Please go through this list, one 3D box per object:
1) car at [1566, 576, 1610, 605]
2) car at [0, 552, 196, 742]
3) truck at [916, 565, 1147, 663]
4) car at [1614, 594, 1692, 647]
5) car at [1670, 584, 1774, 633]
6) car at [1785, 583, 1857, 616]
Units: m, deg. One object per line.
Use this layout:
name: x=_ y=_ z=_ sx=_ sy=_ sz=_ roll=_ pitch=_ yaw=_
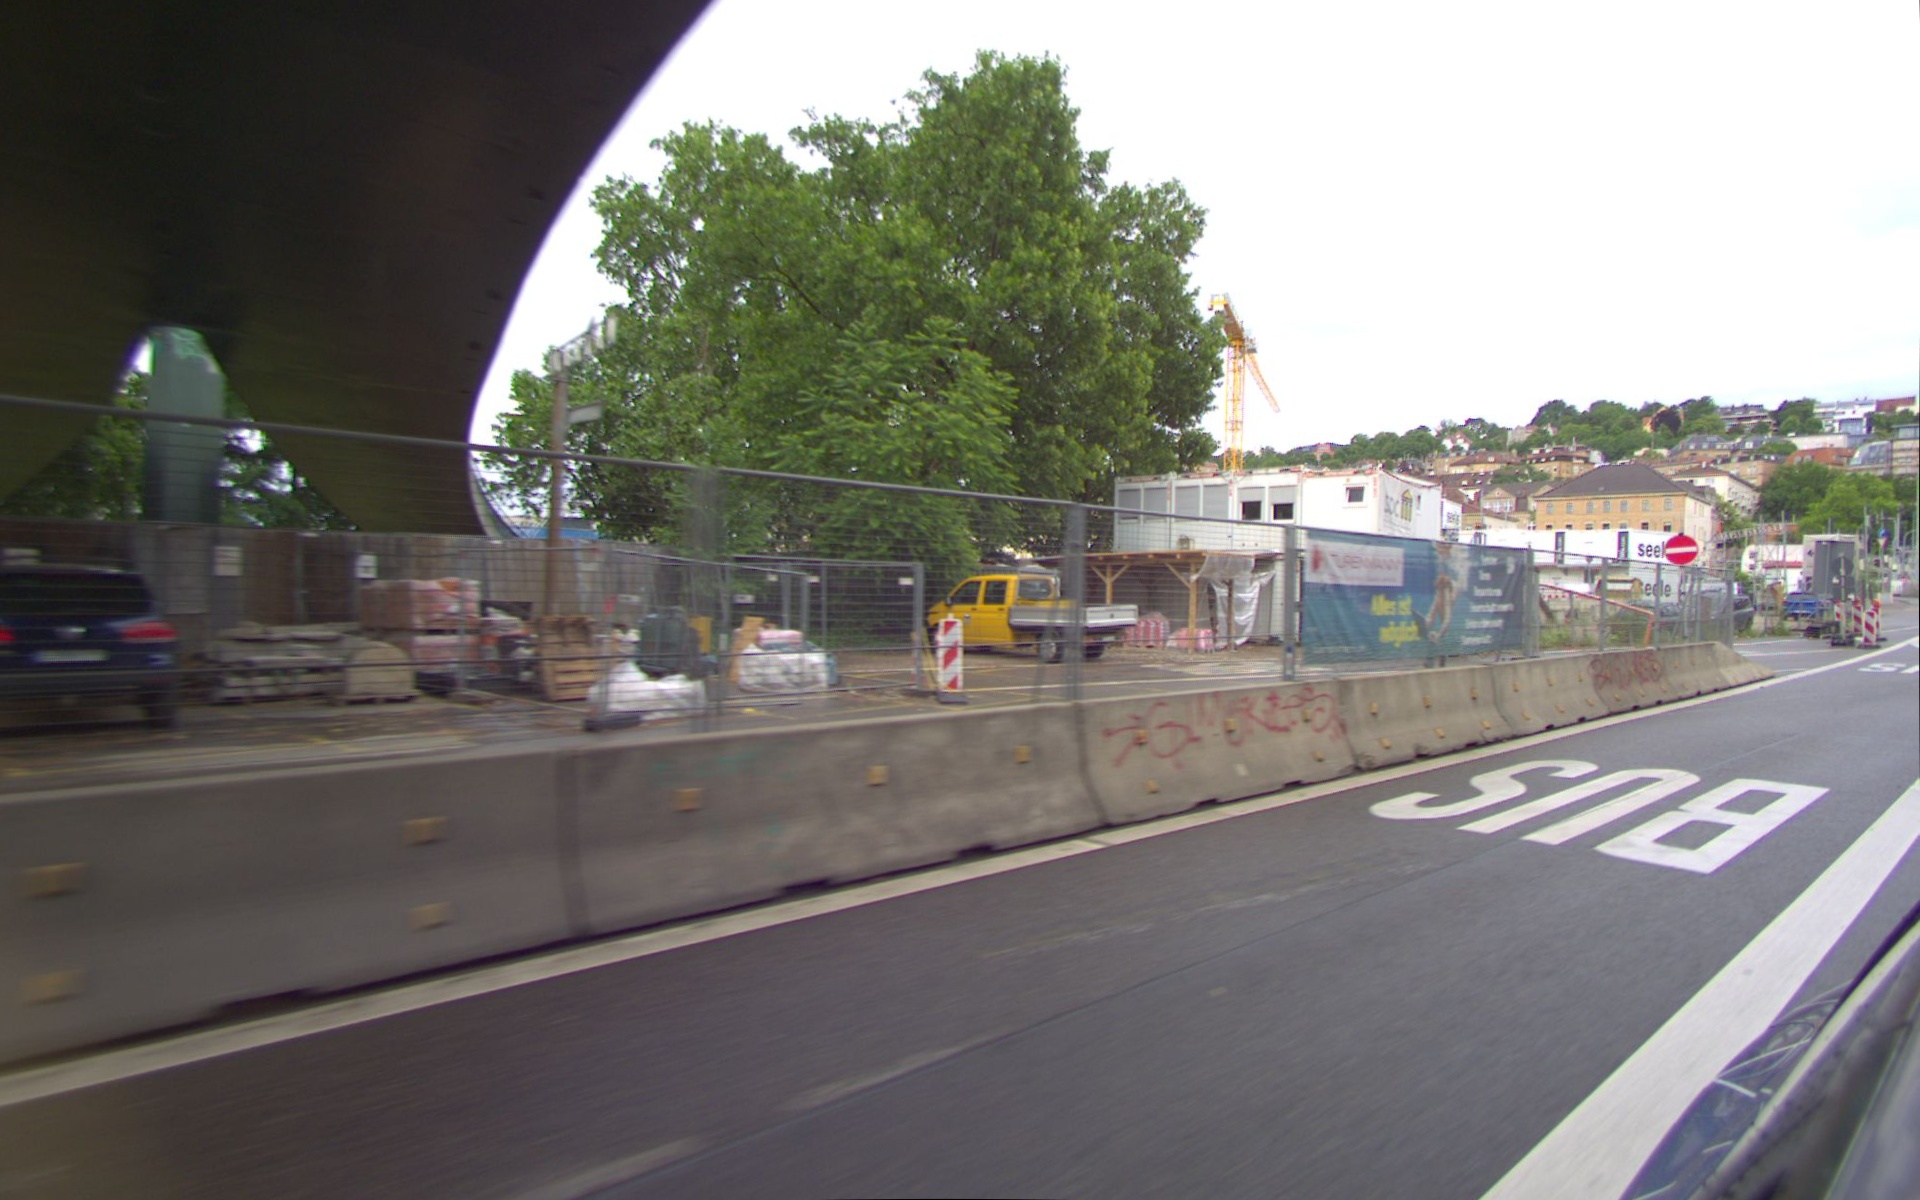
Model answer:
car: x=44.713 y=-0.729 z=72.016 sx=2.011 sy=1.924 sz=4.587 roll=4 pitch=3 yaw=40
car: x=-10.145 y=0.390 z=11.251 sx=4.499 sy=1.750 sz=1.968 roll=2 pitch=1 yaw=44
truck: x=1.595 y=0.200 z=24.009 sx=5.152 sy=2.038 sz=2.373 roll=2 pitch=3 yaw=43
car: x=25.520 y=0.697 z=37.214 sx=1.850 sy=1.501 sz=3.943 roll=4 pitch=7 yaw=41
car: x=30.657 y=0.280 z=40.693 sx=4.328 sy=1.668 sz=1.931 roll=-1 pitch=7 yaw=-34
car: x=41.179 y=-0.037 z=48.383 sx=4.333 sy=1.459 sz=1.837 roll=-1 pitch=1 yaw=-38
